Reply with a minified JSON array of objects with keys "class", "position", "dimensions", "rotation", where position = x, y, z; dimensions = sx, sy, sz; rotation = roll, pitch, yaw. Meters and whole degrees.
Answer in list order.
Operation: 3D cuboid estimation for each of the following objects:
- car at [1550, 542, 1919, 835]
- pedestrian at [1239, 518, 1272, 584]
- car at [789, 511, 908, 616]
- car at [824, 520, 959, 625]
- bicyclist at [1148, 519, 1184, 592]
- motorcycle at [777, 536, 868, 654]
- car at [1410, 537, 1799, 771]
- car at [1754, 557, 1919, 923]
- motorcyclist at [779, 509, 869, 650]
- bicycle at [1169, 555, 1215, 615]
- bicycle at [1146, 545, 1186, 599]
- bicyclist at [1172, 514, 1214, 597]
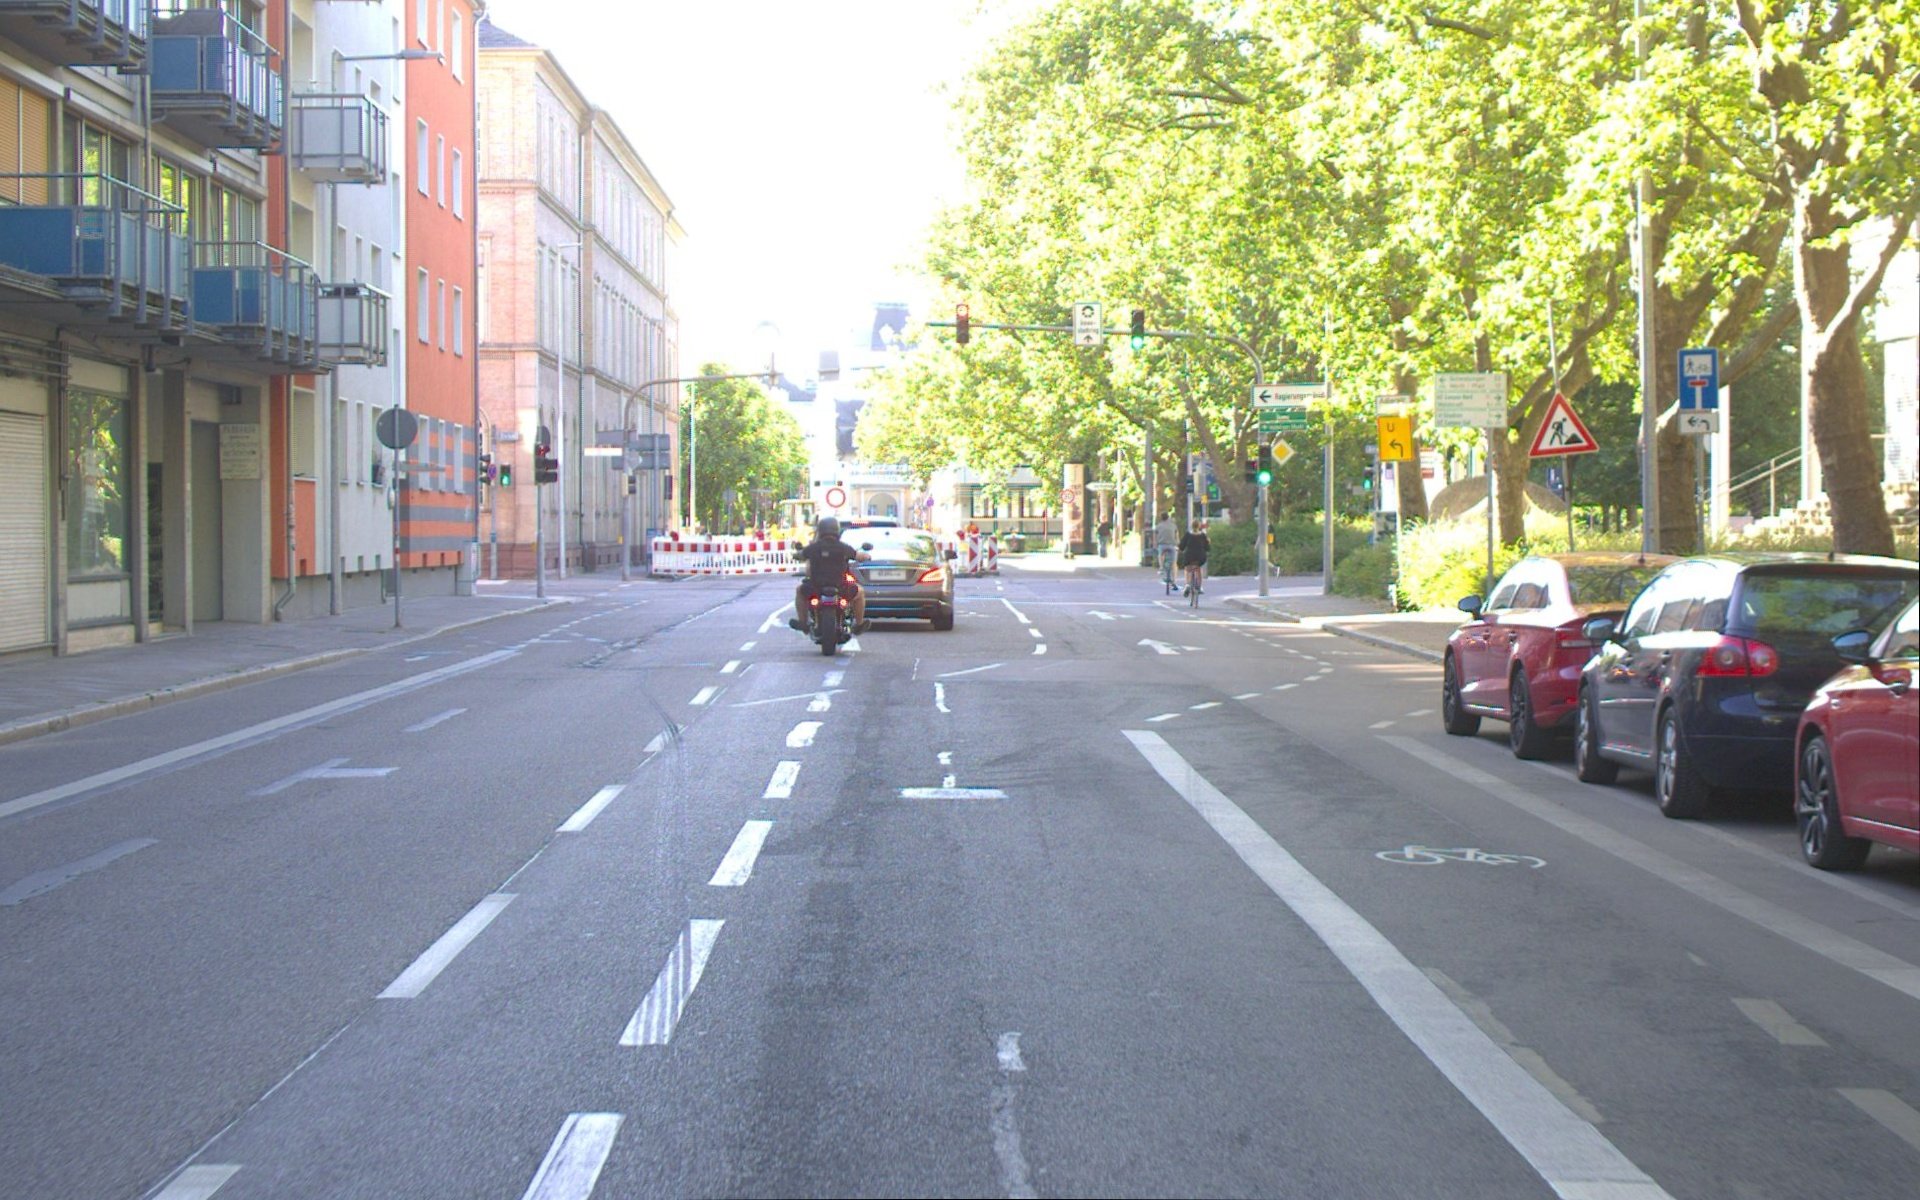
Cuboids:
[{"class":"car","position":[4.651,0.440,20.002],"dimensions":[1.693,1.461,4.066],"rotation":[2,1,0]},{"class":"pedestrian","position":[7.954,-1.317,92.537],"dimensions":[0.625,1.768,0.571],"rotation":[2,1,35]},{"class":"car","position":[-1.886,-0.615,57.112],"dimensions":[1.630,1.645,3.851],"rotation":[2,1,-7]},{"class":"car","position":[-0.983,-0.416,48.840],"dimensions":[1.828,1.415,3.815],"rotation":[1,1,-1]},{"class":"bicyclist","position":[4.385,-0.953,73.176],"dimensions":[0.656,1.525,0.906],"rotation":[2,1,-1]},{"class":"motorcycle","position":[-1.564,-0.084,39.571],"dimensions":[1.012,1.302,2.673],"rotation":[0,1,-1]},{"class":"car","position":[4.512,0.318,24.722],"dimensions":[1.692,1.444,4.437],"rotation":[2,1,-3]},{"class":"car","position":[4.795,0.605,14.697],"dimensions":[1.693,1.474,4.319],"rotation":[2,1,-1]},{"class":"motorcyclist","position":[-1.564,-0.246,39.711],"dimensions":[1.012,1.596,1.406],"rotation":[0,1,-1]},{"class":"bicycle","position":[4.345,-0.289,64.374],"dimensions":[0.656,1.066,1.927],"rotation":[2,1,-1]},{"class":"bicycle","position":[4.377,-0.604,73.135],"dimensions":[0.656,1.107,2.186],"rotation":[2,1,-1]},{"class":"bicyclist","position":[4.364,-0.841,64.394],"dimensions":[0.656,1.525,0.852],"rotation":[2,1,-1]}]
